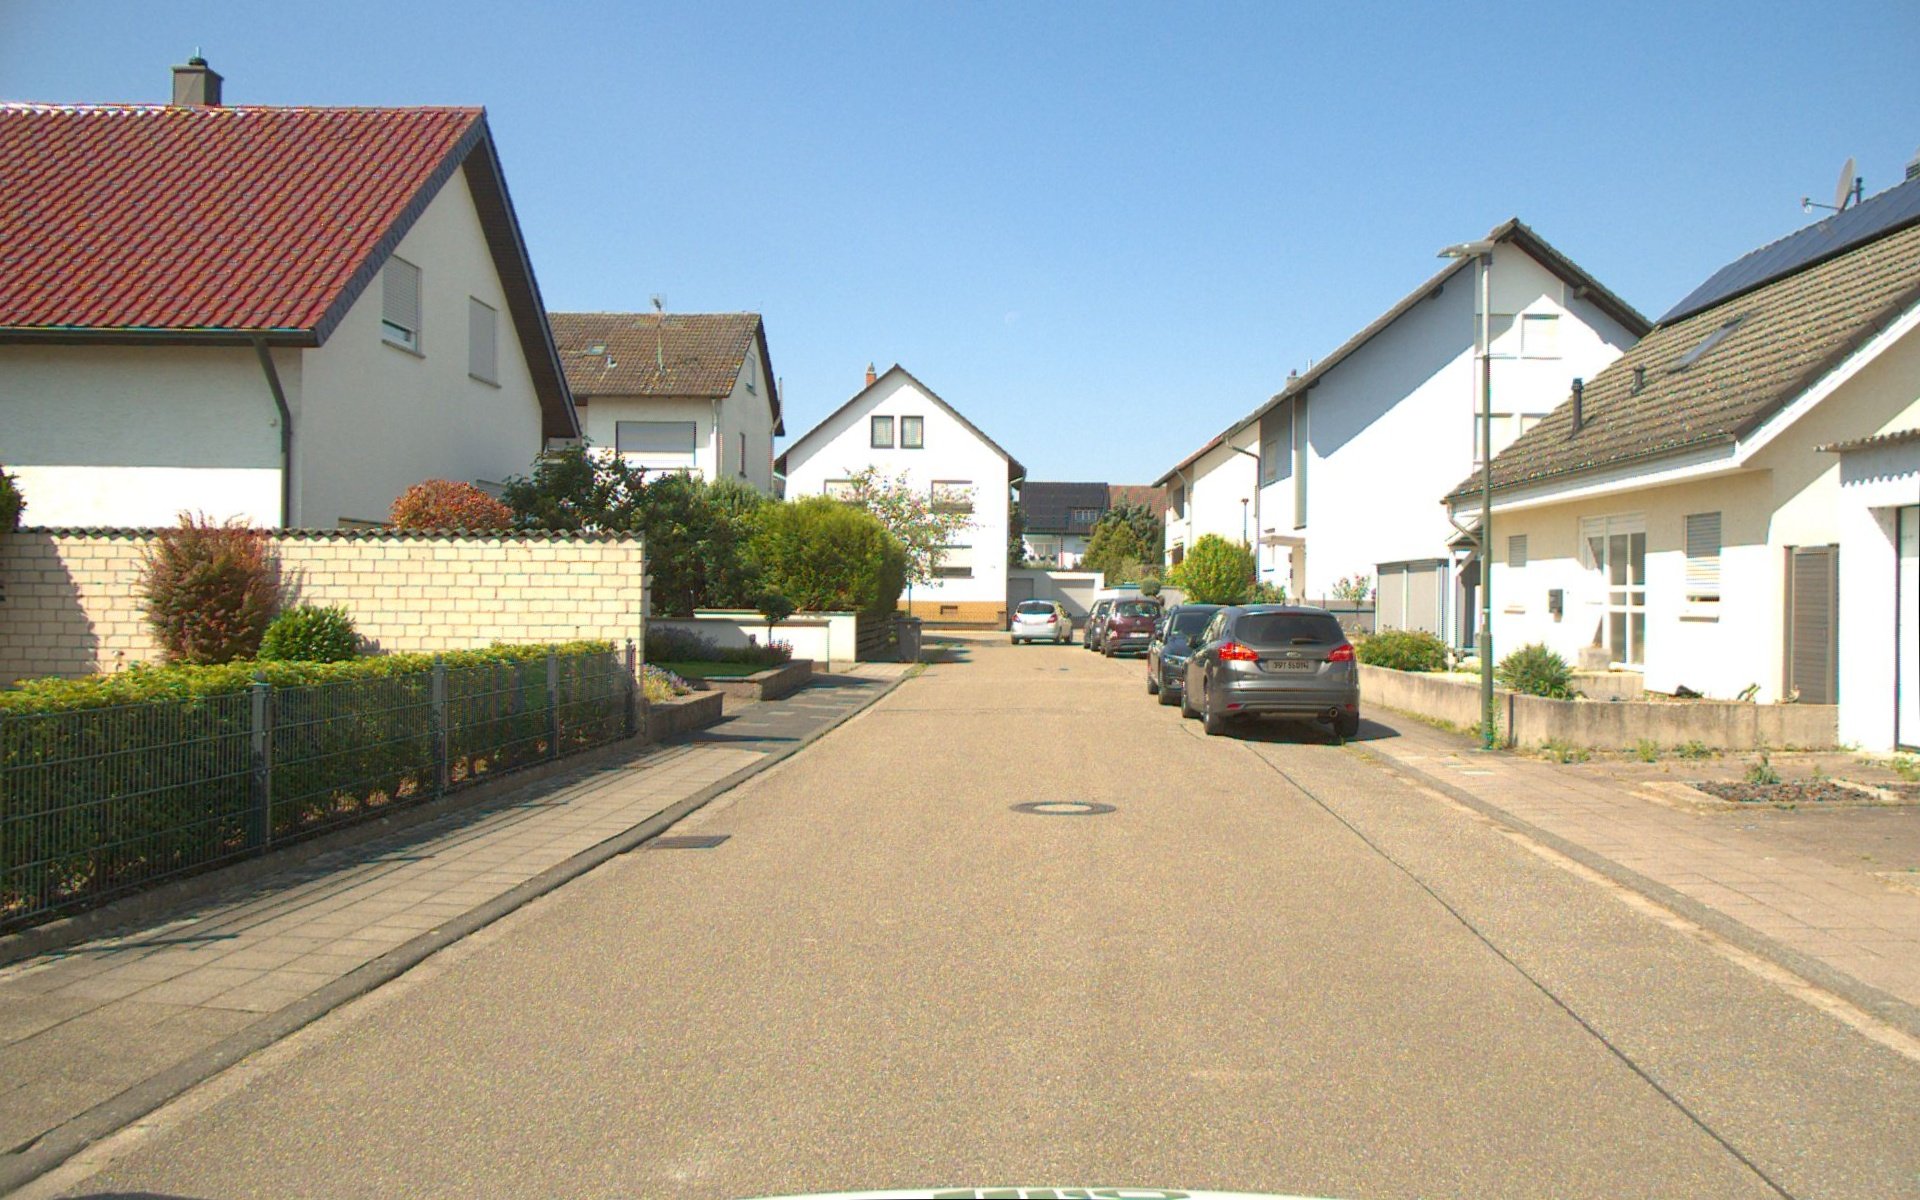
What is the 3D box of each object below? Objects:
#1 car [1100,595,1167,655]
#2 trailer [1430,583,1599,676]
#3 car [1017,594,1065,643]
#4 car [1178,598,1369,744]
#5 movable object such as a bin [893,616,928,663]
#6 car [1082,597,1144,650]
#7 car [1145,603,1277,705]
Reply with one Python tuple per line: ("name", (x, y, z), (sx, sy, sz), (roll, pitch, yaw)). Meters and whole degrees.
("car", (4.831, 0.666, 46.549), (1.611, 1.609, 4.148), (0, 0, 2))
("trailer", (10.561, 0.549, 31.622), (2.775, 1.719, 1.403), (0, 0, 2))
("car", (2.766, 0.599, 56.853), (1.611, 1.609, 3.810), (0, 0, 2))
("car", (3.710, 0.773, 20.167), (1.608, 1.504, 4.001), (2, 1, 1))
("movable object such as a bin", (-1.170, 0.935, 39.207), (0.801, 1.082, 0.611), (0, 0, 1))
("car", (4.753, 0.697, 51.790), (1.611, 1.573, 4.047), (0, 0, 0))
("car", (3.862, 0.778, 26.058), (1.681, 1.464, 4.505), (0, 0, 4))
